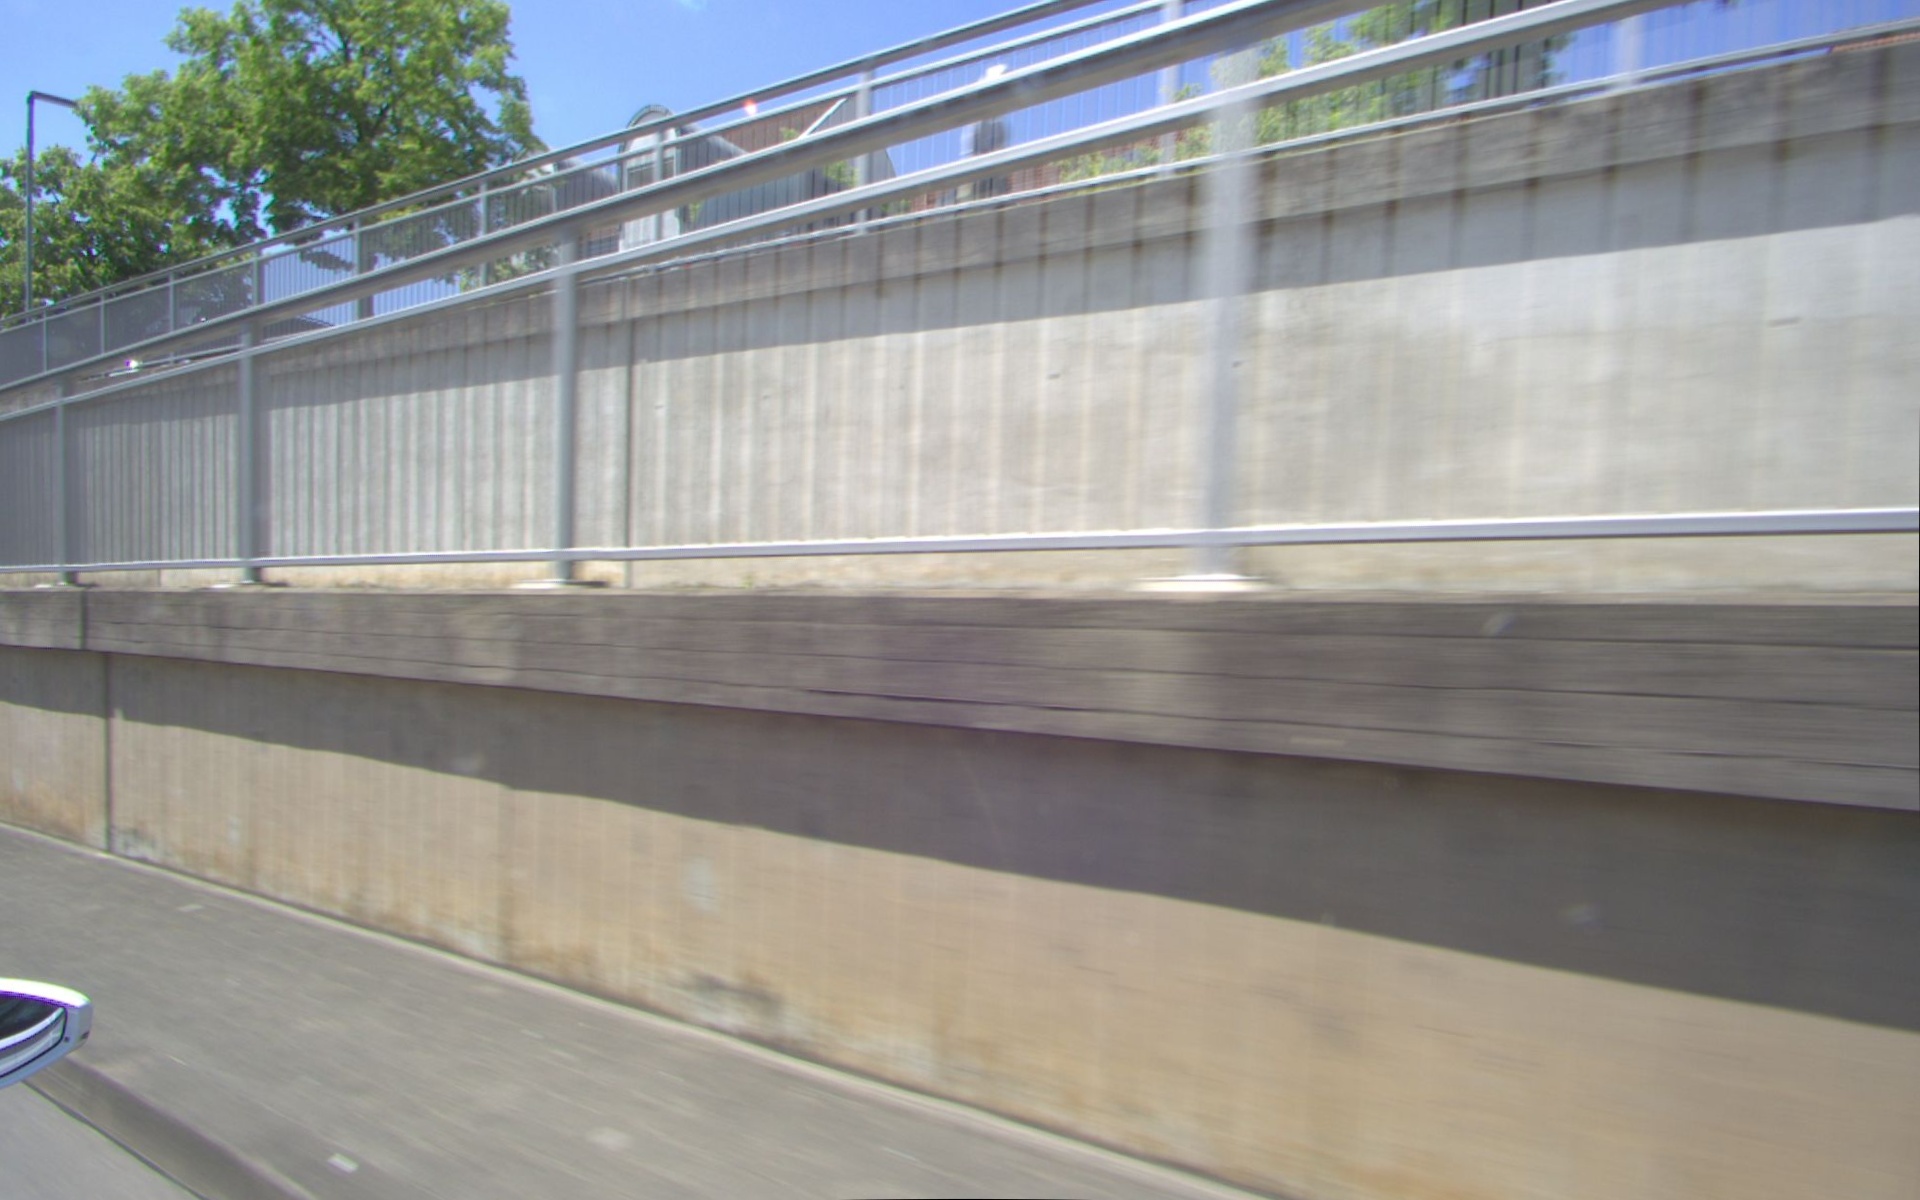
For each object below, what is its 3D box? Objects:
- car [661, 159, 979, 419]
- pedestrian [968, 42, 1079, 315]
[{"bbox_3d":[-1.524,-3.508,12.183,1.661,1.911,3.897,3,2,33],"label":"car"},{"bbox_3d":[0.512,-3.302,8.003,0.585,1.804,0.671,3,2,33],"label":"pedestrian"}]
